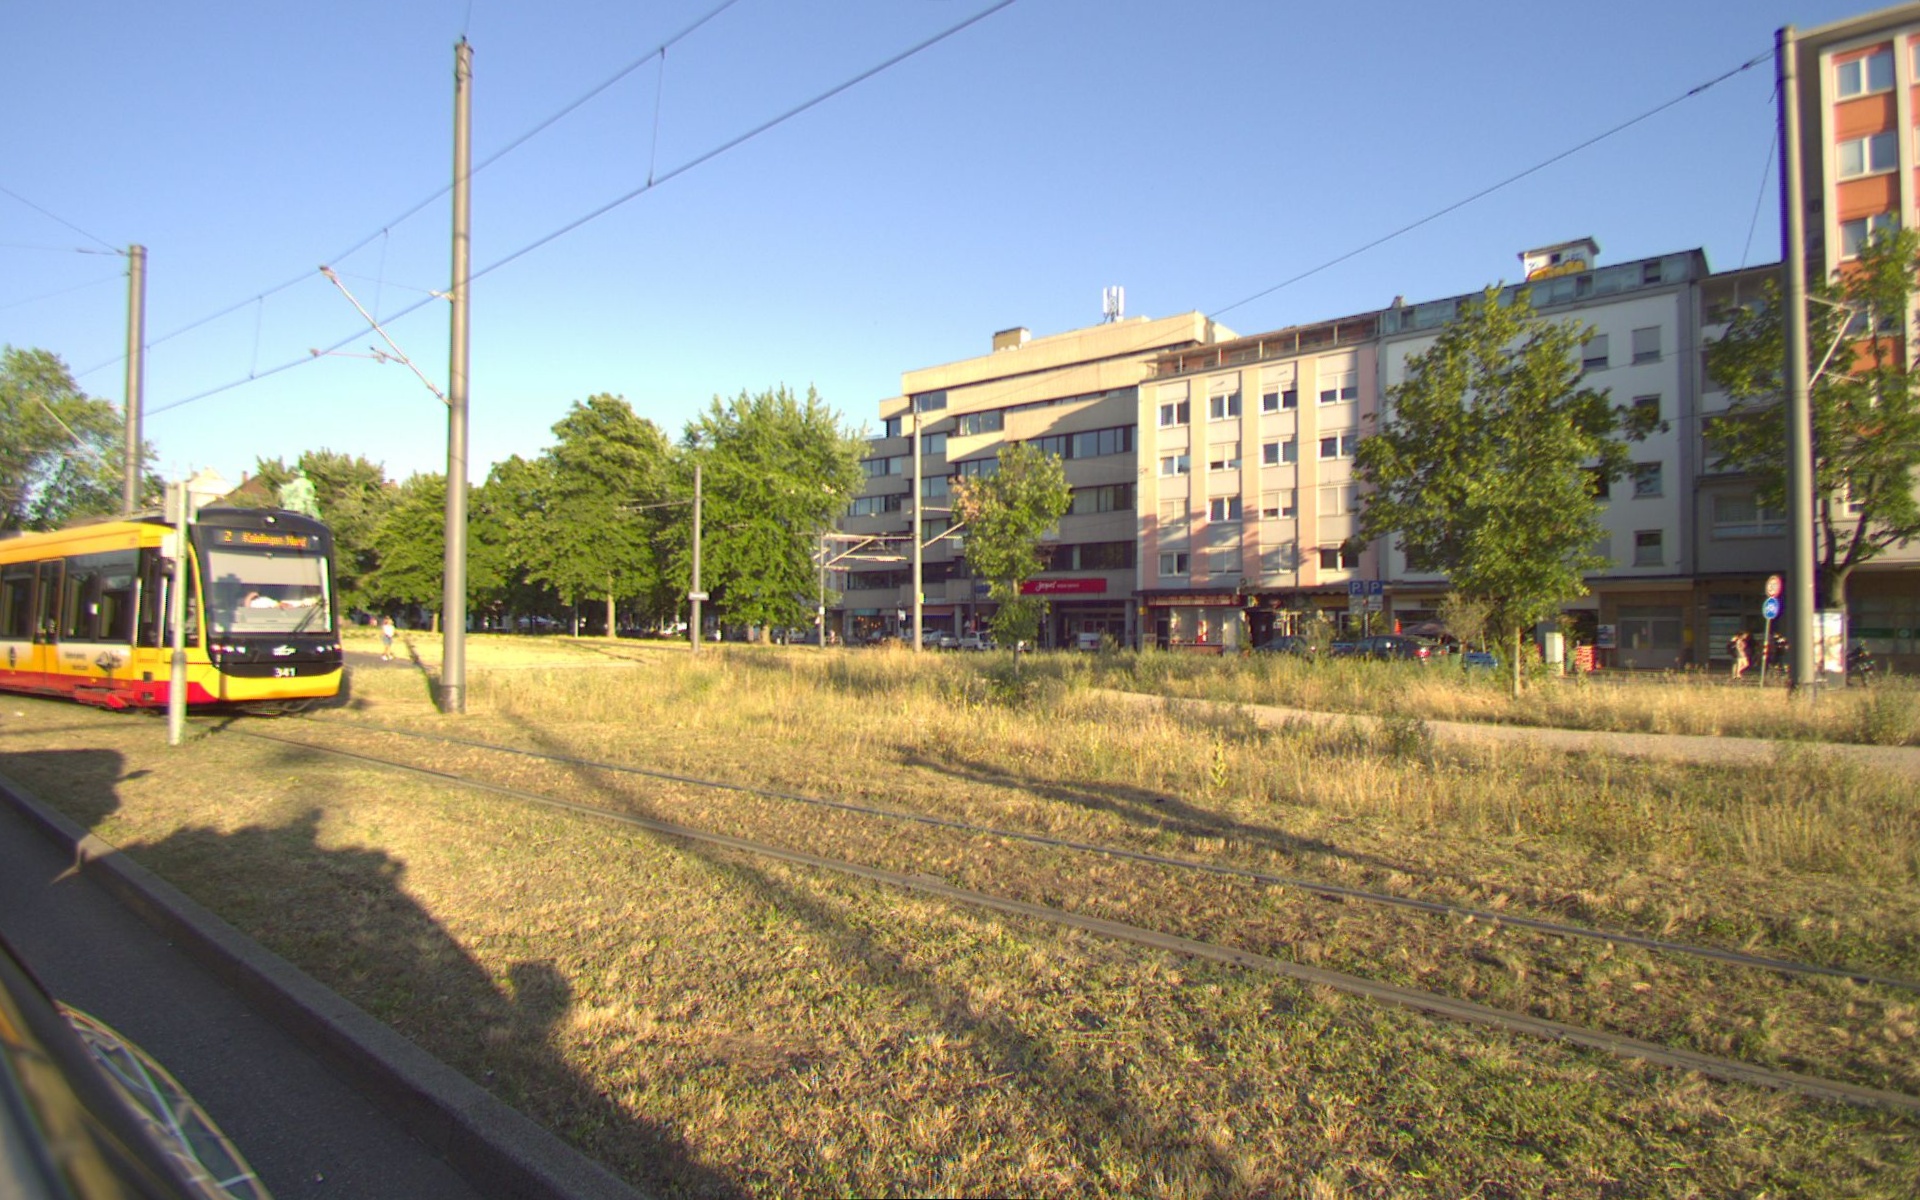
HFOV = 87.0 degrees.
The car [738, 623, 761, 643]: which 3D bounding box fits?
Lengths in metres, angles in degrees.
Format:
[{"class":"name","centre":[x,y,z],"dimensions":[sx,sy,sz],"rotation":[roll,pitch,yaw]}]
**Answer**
[{"class":"car","centre":[-23.542,3.666,113.146],"dimensions":[1.966,2.029,4.012],"rotation":[-1,0,-18]}]

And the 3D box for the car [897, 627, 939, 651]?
[{"class":"car","centre":[-3.457,3.130,81.968],"dimensions":[1.965,1.951,4.013],"rotation":[1,-2,-25]}]

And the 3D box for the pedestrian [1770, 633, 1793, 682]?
[{"class":"pedestrian","centre":[29.915,2.081,36.853],"dimensions":[0.630,1.782,0.589],"rotation":[-1,-2,41]}]

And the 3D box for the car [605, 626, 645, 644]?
[{"class":"car","centre":[-35.170,3.653,106.285],"dimensions":[3.931,1.769,1.974],"rotation":[0,-2,-18]}]

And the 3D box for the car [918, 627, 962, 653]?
[{"class":"car","centre":[-1.531,3.009,77.061],"dimensions":[1.965,1.893,4.013],"rotation":[1,-2,-23]}]

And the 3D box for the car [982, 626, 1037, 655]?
[{"class":"car","centre":[3.210,2.639,66.845],"dimensions":[1.892,1.878,4.013],"rotation":[1,-2,-27]}]

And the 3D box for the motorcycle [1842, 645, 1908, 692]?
[{"class":"motorcycle","centre":[26.599,1.979,29.431],"dimensions":[1.390,1.328,0.376],"rotation":[-2,-2,43]}]

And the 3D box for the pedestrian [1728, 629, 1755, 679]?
[{"class":"pedestrian","centre":[28.091,1.942,36.369],"dimensions":[0.698,1.764,0.642],"rotation":[-2,-2,41]}]

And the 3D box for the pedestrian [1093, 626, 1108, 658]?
[{"class":"pedestrian","centre":[8.685,2.586,62.517],"dimensions":[0.700,1.949,0.683],"rotation":[-2,-2,41]}]

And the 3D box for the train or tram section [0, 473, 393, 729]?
[{"class":"train or tram section","centre":[-15.995,0.144,19.716],"dimensions":[13.179,3.767,2.885],"rotation":[-1,-2,33]}]

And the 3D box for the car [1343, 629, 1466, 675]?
[{"class":"car","centre":[17.266,1.980,39.519],"dimensions":[1.965,1.697,4.012],"rotation":[1,-2,-28]}]

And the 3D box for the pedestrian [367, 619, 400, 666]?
[{"class":"pedestrian","centre":[-21.914,1.613,38.479],"dimensions":[0.797,1.741,0.880],"rotation":[-2,-2,41]}]

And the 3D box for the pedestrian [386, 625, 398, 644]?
[{"class":"pedestrian","centre":[-49.690,3.025,88.570],"dimensions":[0.635,1.682,0.702],"rotation":[-1,-2,41]}]

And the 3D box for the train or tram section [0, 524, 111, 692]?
[{"class":"train or tram section","centre":[-26.556,0.274,25.974],"dimensions":[12.123,3.767,2.860],"rotation":[-1,-2,28]}]

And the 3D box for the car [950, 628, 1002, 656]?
[{"class":"car","centre":[1.087,2.940,71.544],"dimensions":[1.965,1.893,4.013],"rotation":[1,-2,-27]}]

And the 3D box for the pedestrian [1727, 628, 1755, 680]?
[{"class":"pedestrian","centre":[27.669,1.909,35.860],"dimensions":[0.704,1.806,0.587],"rotation":[-2,-2,41]}]

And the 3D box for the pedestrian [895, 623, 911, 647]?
[{"class":"pedestrian","centre":[-4.896,3.032,86.985],"dimensions":[0.892,2.051,1.123],"rotation":[-2,-2,43]}]
